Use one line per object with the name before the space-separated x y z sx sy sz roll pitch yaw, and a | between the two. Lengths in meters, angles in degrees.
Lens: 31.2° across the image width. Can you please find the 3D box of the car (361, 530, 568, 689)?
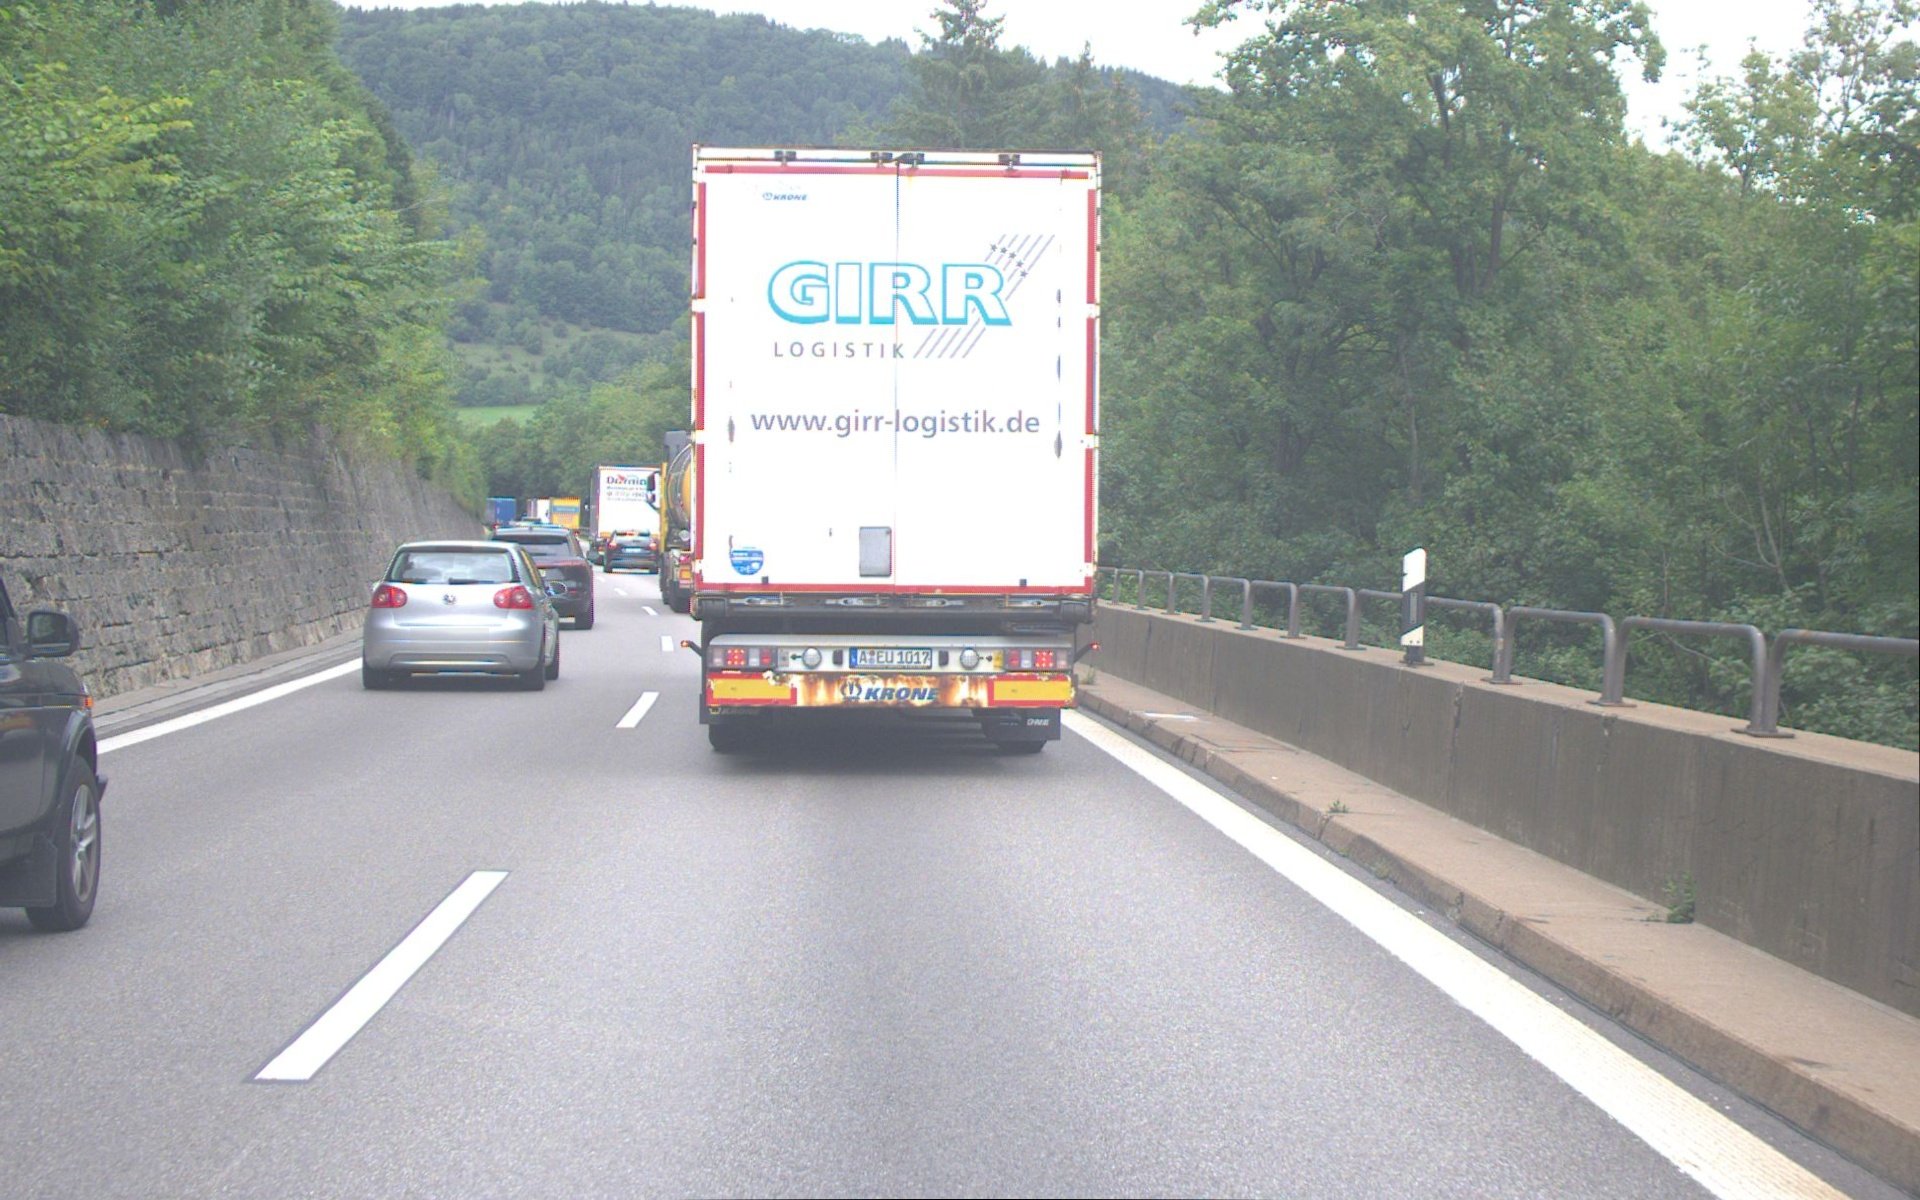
car | -4.917 0.066 34.541 1.729 1.481 4.001 1 1 -4

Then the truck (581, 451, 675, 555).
truck | -13.302 -3.804 138.291 3.510 3.834 11.778 1 0 -5

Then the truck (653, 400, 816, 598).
truck | -4.525 -1.909 67.327 2.485 3.559 9.311 1 1 -8

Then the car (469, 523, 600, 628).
car | -6.761 -0.401 54.987 1.916 1.589 4.180 1 1 -5

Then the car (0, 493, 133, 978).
car | -4.058 0.443 11.655 1.669 1.633 4.068 1 1 -2

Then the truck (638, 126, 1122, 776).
truck | -0.588 -0.989 25.766 2.908 3.947 9.279 1 1 -1

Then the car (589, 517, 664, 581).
car | -10.961 -1.651 113.106 1.993 2.007 4.000 1 0 1
